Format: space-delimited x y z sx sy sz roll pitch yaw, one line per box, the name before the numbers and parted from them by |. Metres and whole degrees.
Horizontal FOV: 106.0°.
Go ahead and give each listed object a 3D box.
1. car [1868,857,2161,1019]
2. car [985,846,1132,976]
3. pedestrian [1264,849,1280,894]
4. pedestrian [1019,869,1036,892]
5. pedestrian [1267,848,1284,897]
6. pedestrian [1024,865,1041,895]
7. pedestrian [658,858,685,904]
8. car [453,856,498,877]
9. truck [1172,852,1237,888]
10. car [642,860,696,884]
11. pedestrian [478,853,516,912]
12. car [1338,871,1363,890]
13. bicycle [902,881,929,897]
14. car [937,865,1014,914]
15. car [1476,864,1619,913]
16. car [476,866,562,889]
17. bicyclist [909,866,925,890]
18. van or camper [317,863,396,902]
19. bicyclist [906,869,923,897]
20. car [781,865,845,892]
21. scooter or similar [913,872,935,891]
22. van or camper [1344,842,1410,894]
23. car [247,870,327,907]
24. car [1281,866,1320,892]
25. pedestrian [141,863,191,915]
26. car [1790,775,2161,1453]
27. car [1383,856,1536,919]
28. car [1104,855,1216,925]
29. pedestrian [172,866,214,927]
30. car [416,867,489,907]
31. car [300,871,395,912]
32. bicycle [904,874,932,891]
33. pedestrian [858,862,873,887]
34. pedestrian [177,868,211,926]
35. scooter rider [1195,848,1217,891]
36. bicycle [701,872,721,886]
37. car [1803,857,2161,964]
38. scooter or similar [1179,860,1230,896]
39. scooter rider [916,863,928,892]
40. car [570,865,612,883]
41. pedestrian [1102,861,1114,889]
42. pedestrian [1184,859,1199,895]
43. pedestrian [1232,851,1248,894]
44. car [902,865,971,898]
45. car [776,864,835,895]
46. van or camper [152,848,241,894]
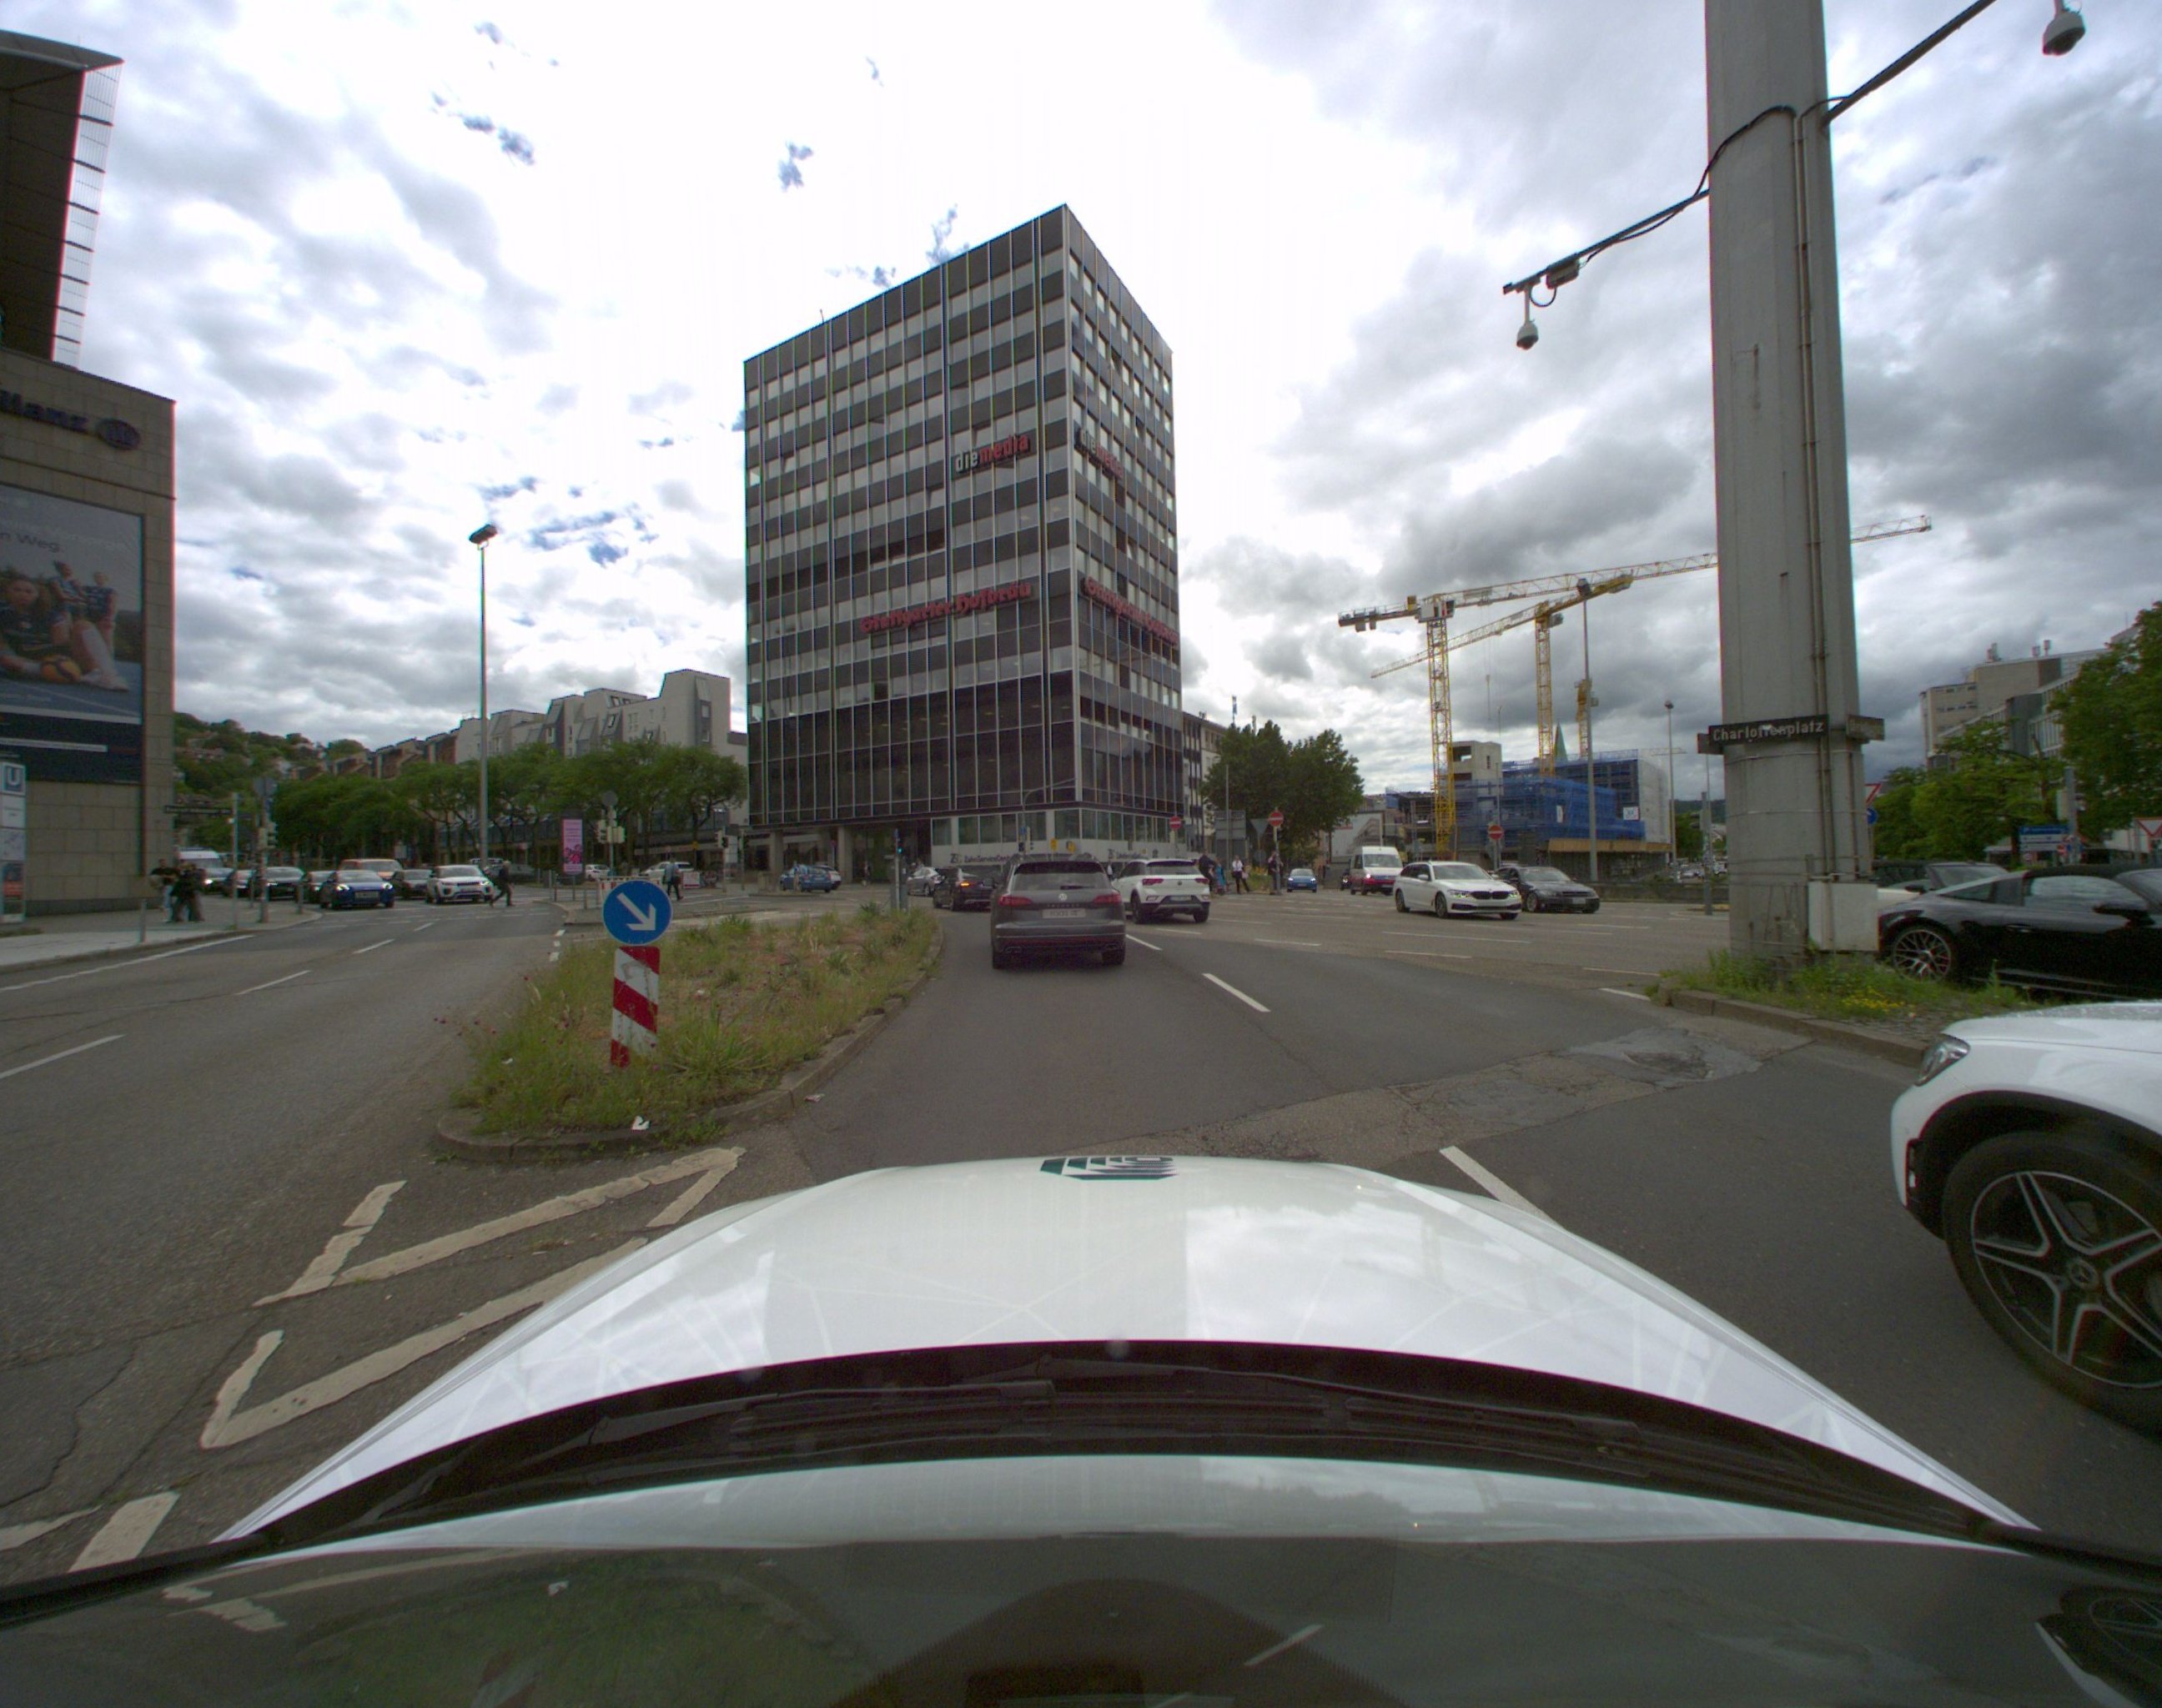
car | 9.363 0.670 6.805 1.665 1.264 4.057 0 0 0
car | -0.512 0.759 13.067 1.968 1.695 4.215 -1 0 -6
pedestrian | 8.141 0.757 34.810 0.636 1.910 0.612 0 -2 11
pedestrian | -3.344 1.642 50.502 0.828 1.443 0.610 -1 0 30
pedestrian | 7.986 0.755 33.402 0.636 1.955 0.613 -1 -2 15
pedestrian | -2.830 1.504 47.415 0.792 1.698 0.551 -2 -1 44
pedestrian | -16.878 1.098 33.546 0.626 1.790 0.722 0 3 35
car | -55.378 1.134 74.504 4.807 1.874 1.850 -1 0 35
truck | 11.125 1.463 72.639 2.315 3.064 8.251 -1 -2 35
car | -28.063 1.205 55.417 3.718 1.567 1.850 -1 0 38
pedestrian | -22.172 1.077 30.918 0.754 2.172 0.883 -1 -1 17
car | 21.668 2.125 65.521 1.818 1.466 4.017 -1 -2 17
bicycle | -11.283 2.356 55.427 1.745 1.007 0.685 1 2 29
car | -3.429 1.081 25.872 1.837 1.395 4.125 1 -1 -16
car | 13.804 0.998 24.444 1.748 1.333 4.411 1 -1 0
car | -38.662 1.592 56.095 1.857 1.458 4.593 -1 -1 43
bicyclist | -10.541 1.550 52.434 0.839 1.549 0.566 -2 -1 6
van or camper | -38.125 1.475 42.806 5.017 1.921 1.931 -1 0 35
bicyclist | -11.307 1.946 55.414 0.803 1.846 0.679 2 0 31
car | -16.146 1.470 48.994 3.718 1.517 1.850 -1 0 38
scooter or similar | -9.885 1.738 51.255 1.318 1.176 0.592 -1 -1 -7
van or camper | 14.978 0.702 41.520 2.127 2.477 6.178 0 -1 10
car | -40.022 1.707 41.020 4.622 1.645 2.013 0 1 35
car | 13.872 1.542 51.592 1.931 1.482 4.640 -1 0 10
pedestrian | -32.944 1.250 29.322 0.690 1.810 0.935 -1 0 10
car | 3.487 0.615 0.830 1.795 1.646 4.335 -1 0 1
car | 10.030 0.874 22.086 1.985 1.504 5.042 0 -2 2
car | 1.878 0.845 20.550 1.798 1.545 3.921 -1 -1 -11
pedestrian | -25.725 1.212 23.595 0.624 1.701 0.774 -1 -1 39
car | -27.032 1.374 34.987 4.264 1.598 1.751 -1 -1 42
car | -29.366 1.445 32.580 4.038 1.525 2.013 -1 -1 36
bicycle | -10.510 1.846 52.430 1.656 1.027 0.582 -2 -1 6
pedestrian | -14.942 1.402 56.490 0.743 1.711 0.530 -3 -1 29
pedestrian | -26.483 1.266 24.317 0.624 1.701 0.648 -1 -1 39
scooter rider | 4.961 0.612 32.353 0.737 1.694 0.770 -1 -2 19
bicycle | -32.077 2.169 70.584 1.863 1.132 0.494 -1 -1 29
car | 13.688 0.752 12.667 1.718 1.418 3.647 0 0 0
scooter or similar | 4.914 0.941 32.357 1.866 1.407 0.780 -1 -2 19
scooter rider | -10.018 1.451 51.241 0.641 1.809 0.592 -1 -1 -7
car | -41.971 1.688 69.707 4.279 1.418 2.075 -1 0 44
pedestrian | 1.712 1.308 51.587 0.630 1.748 0.593 -1 -1 18
pedestrian | 5.169 1.072 37.960 0.636 1.696 0.612 0 -2 11
pedestrian | 6.778 0.774 34.762 0.636 1.797 0.612 1 -1 11
car | -7.011 1.295 39.258 1.845 1.432 4.106 2 -1 -32
car | -14.762 1.337 43.539 1.847 1.517 3.724 -1 0 -37
van or camper | -56.499 1.082 51.995 6.165 2.726 3.031 -1 -1 35
